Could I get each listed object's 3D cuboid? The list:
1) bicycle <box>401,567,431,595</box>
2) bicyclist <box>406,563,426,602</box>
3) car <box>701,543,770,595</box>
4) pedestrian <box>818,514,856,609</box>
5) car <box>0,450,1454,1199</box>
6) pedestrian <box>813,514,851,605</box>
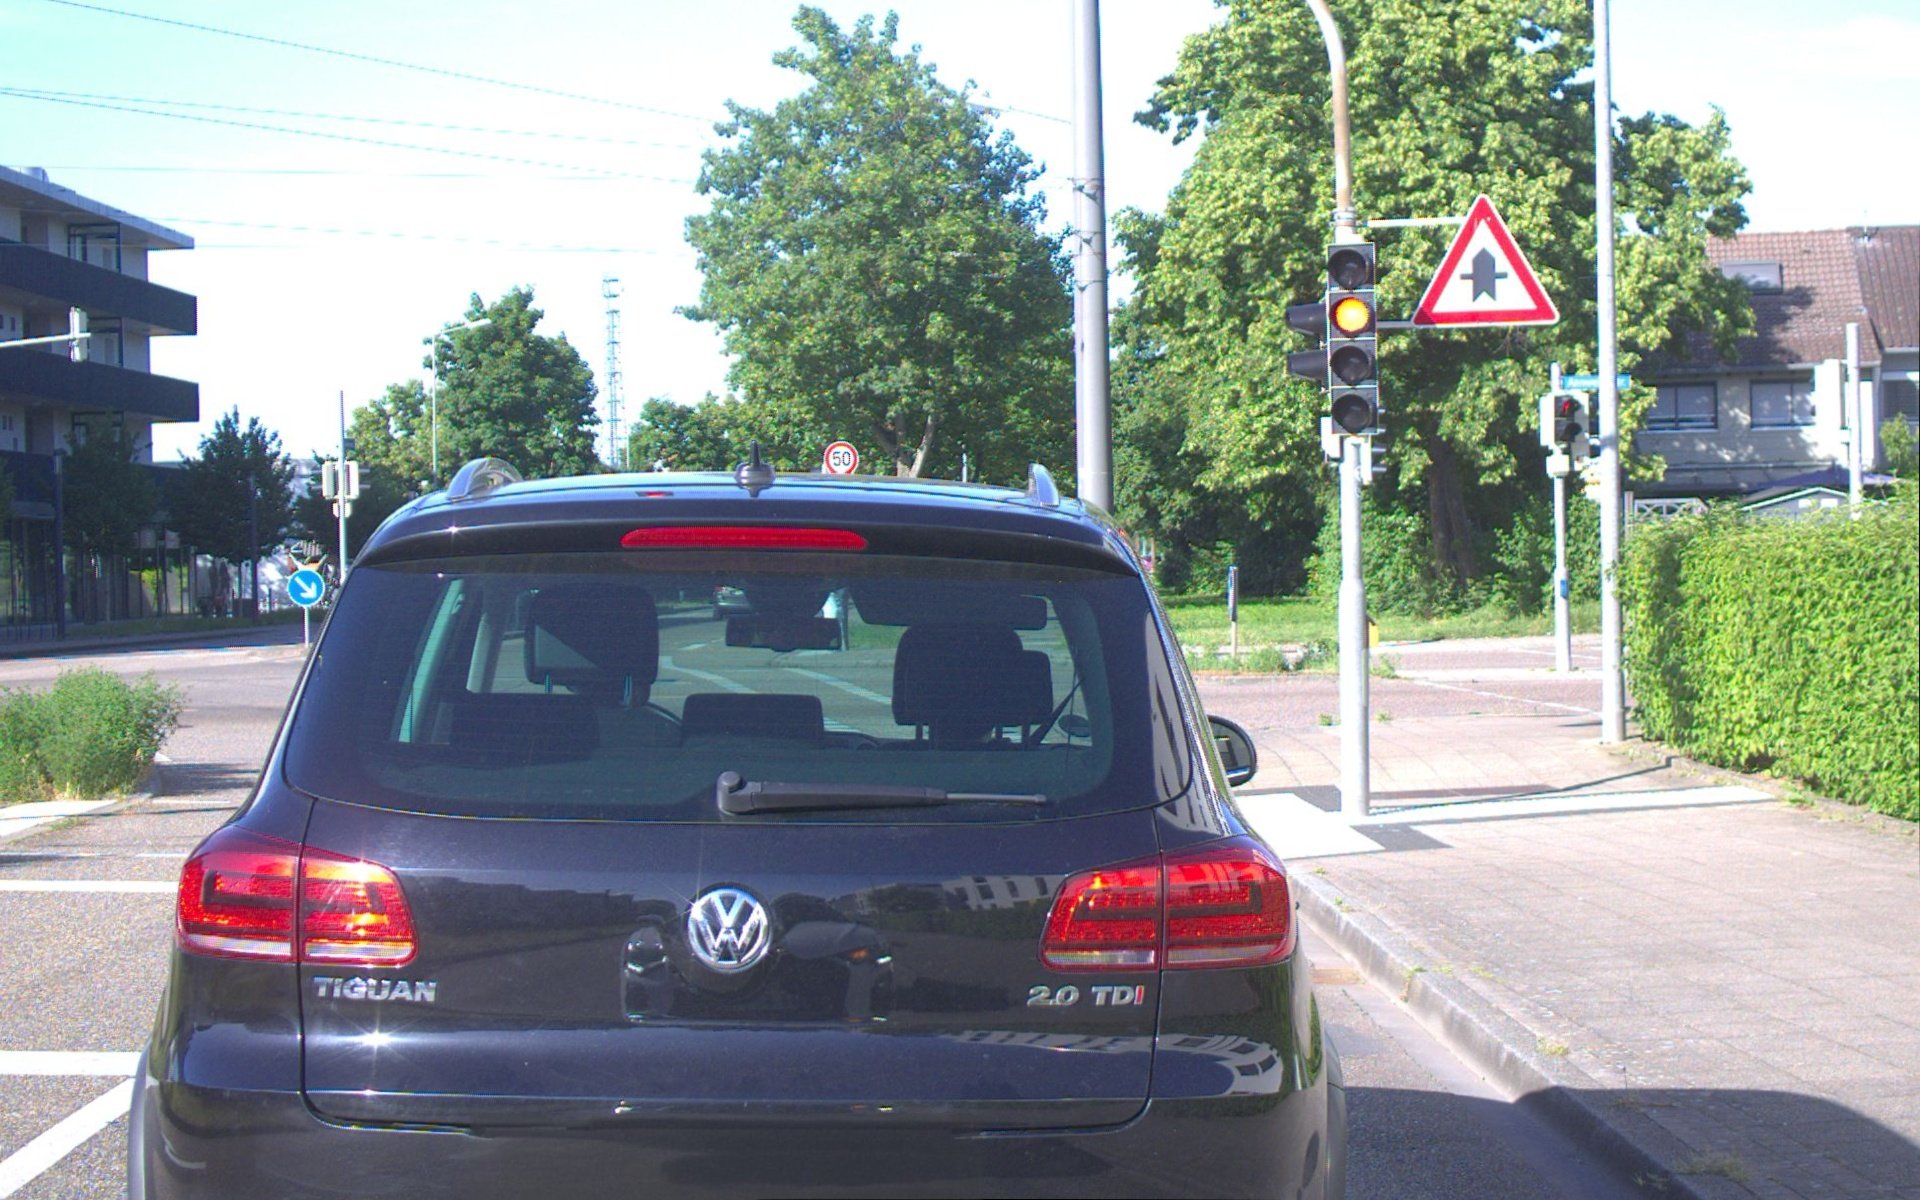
[{"bbox_3d":[-17.204,-0.600,108.667,0.496,0.845,2.078,0,1,3],"label":"bicycle"},{"bbox_3d":[-17.203,-0.565,108.670,0.474,1.219,0.712,0,1,3],"label":"bicyclist"},{"bbox_3d":[-6.139,-0.858,94.453,1.751,1.382,4.000,0,1,-2],"label":"car"},{"bbox_3d":[-2.139,-0.672,59.733,0.603,1.634,0.529,0,1,4],"label":"pedestrian"},{"bbox_3d":[-0.381,0.596,6.451,1.905,1.637,4.000,0,1,-2],"label":"car"},{"bbox_3d":[-2.199,-0.692,59.138,0.603,1.559,0.529,0,1,4],"label":"pedestrian"}]
